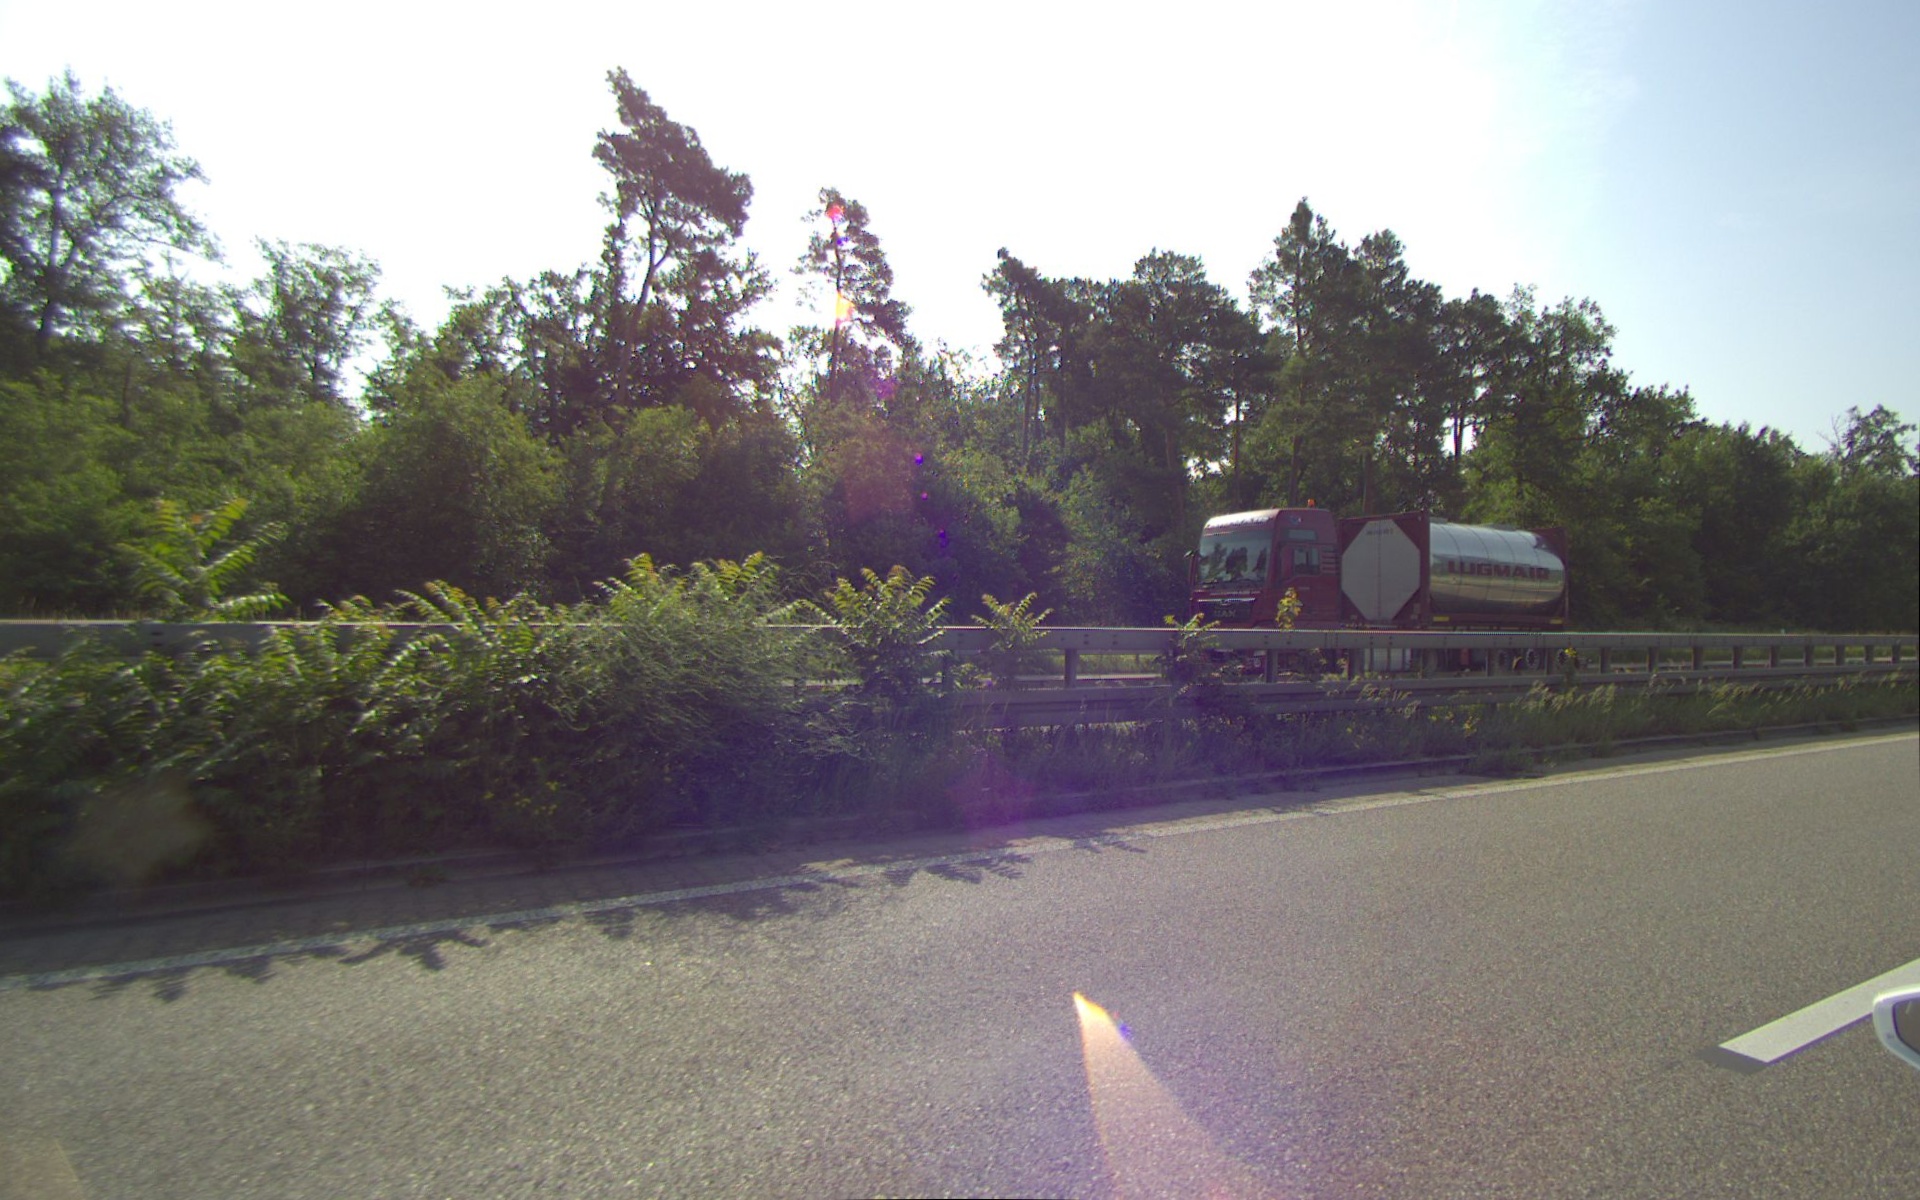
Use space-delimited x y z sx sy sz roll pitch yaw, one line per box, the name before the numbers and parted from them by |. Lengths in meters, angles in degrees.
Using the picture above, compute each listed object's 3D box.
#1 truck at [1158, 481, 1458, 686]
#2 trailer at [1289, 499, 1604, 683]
truck | 8.029 -0.257 23.098 6.161 4.093 3.250 2 0 -31
trailer | 12.649 -0.100 25.897 8.277 4.093 3.278 2 0 -31
